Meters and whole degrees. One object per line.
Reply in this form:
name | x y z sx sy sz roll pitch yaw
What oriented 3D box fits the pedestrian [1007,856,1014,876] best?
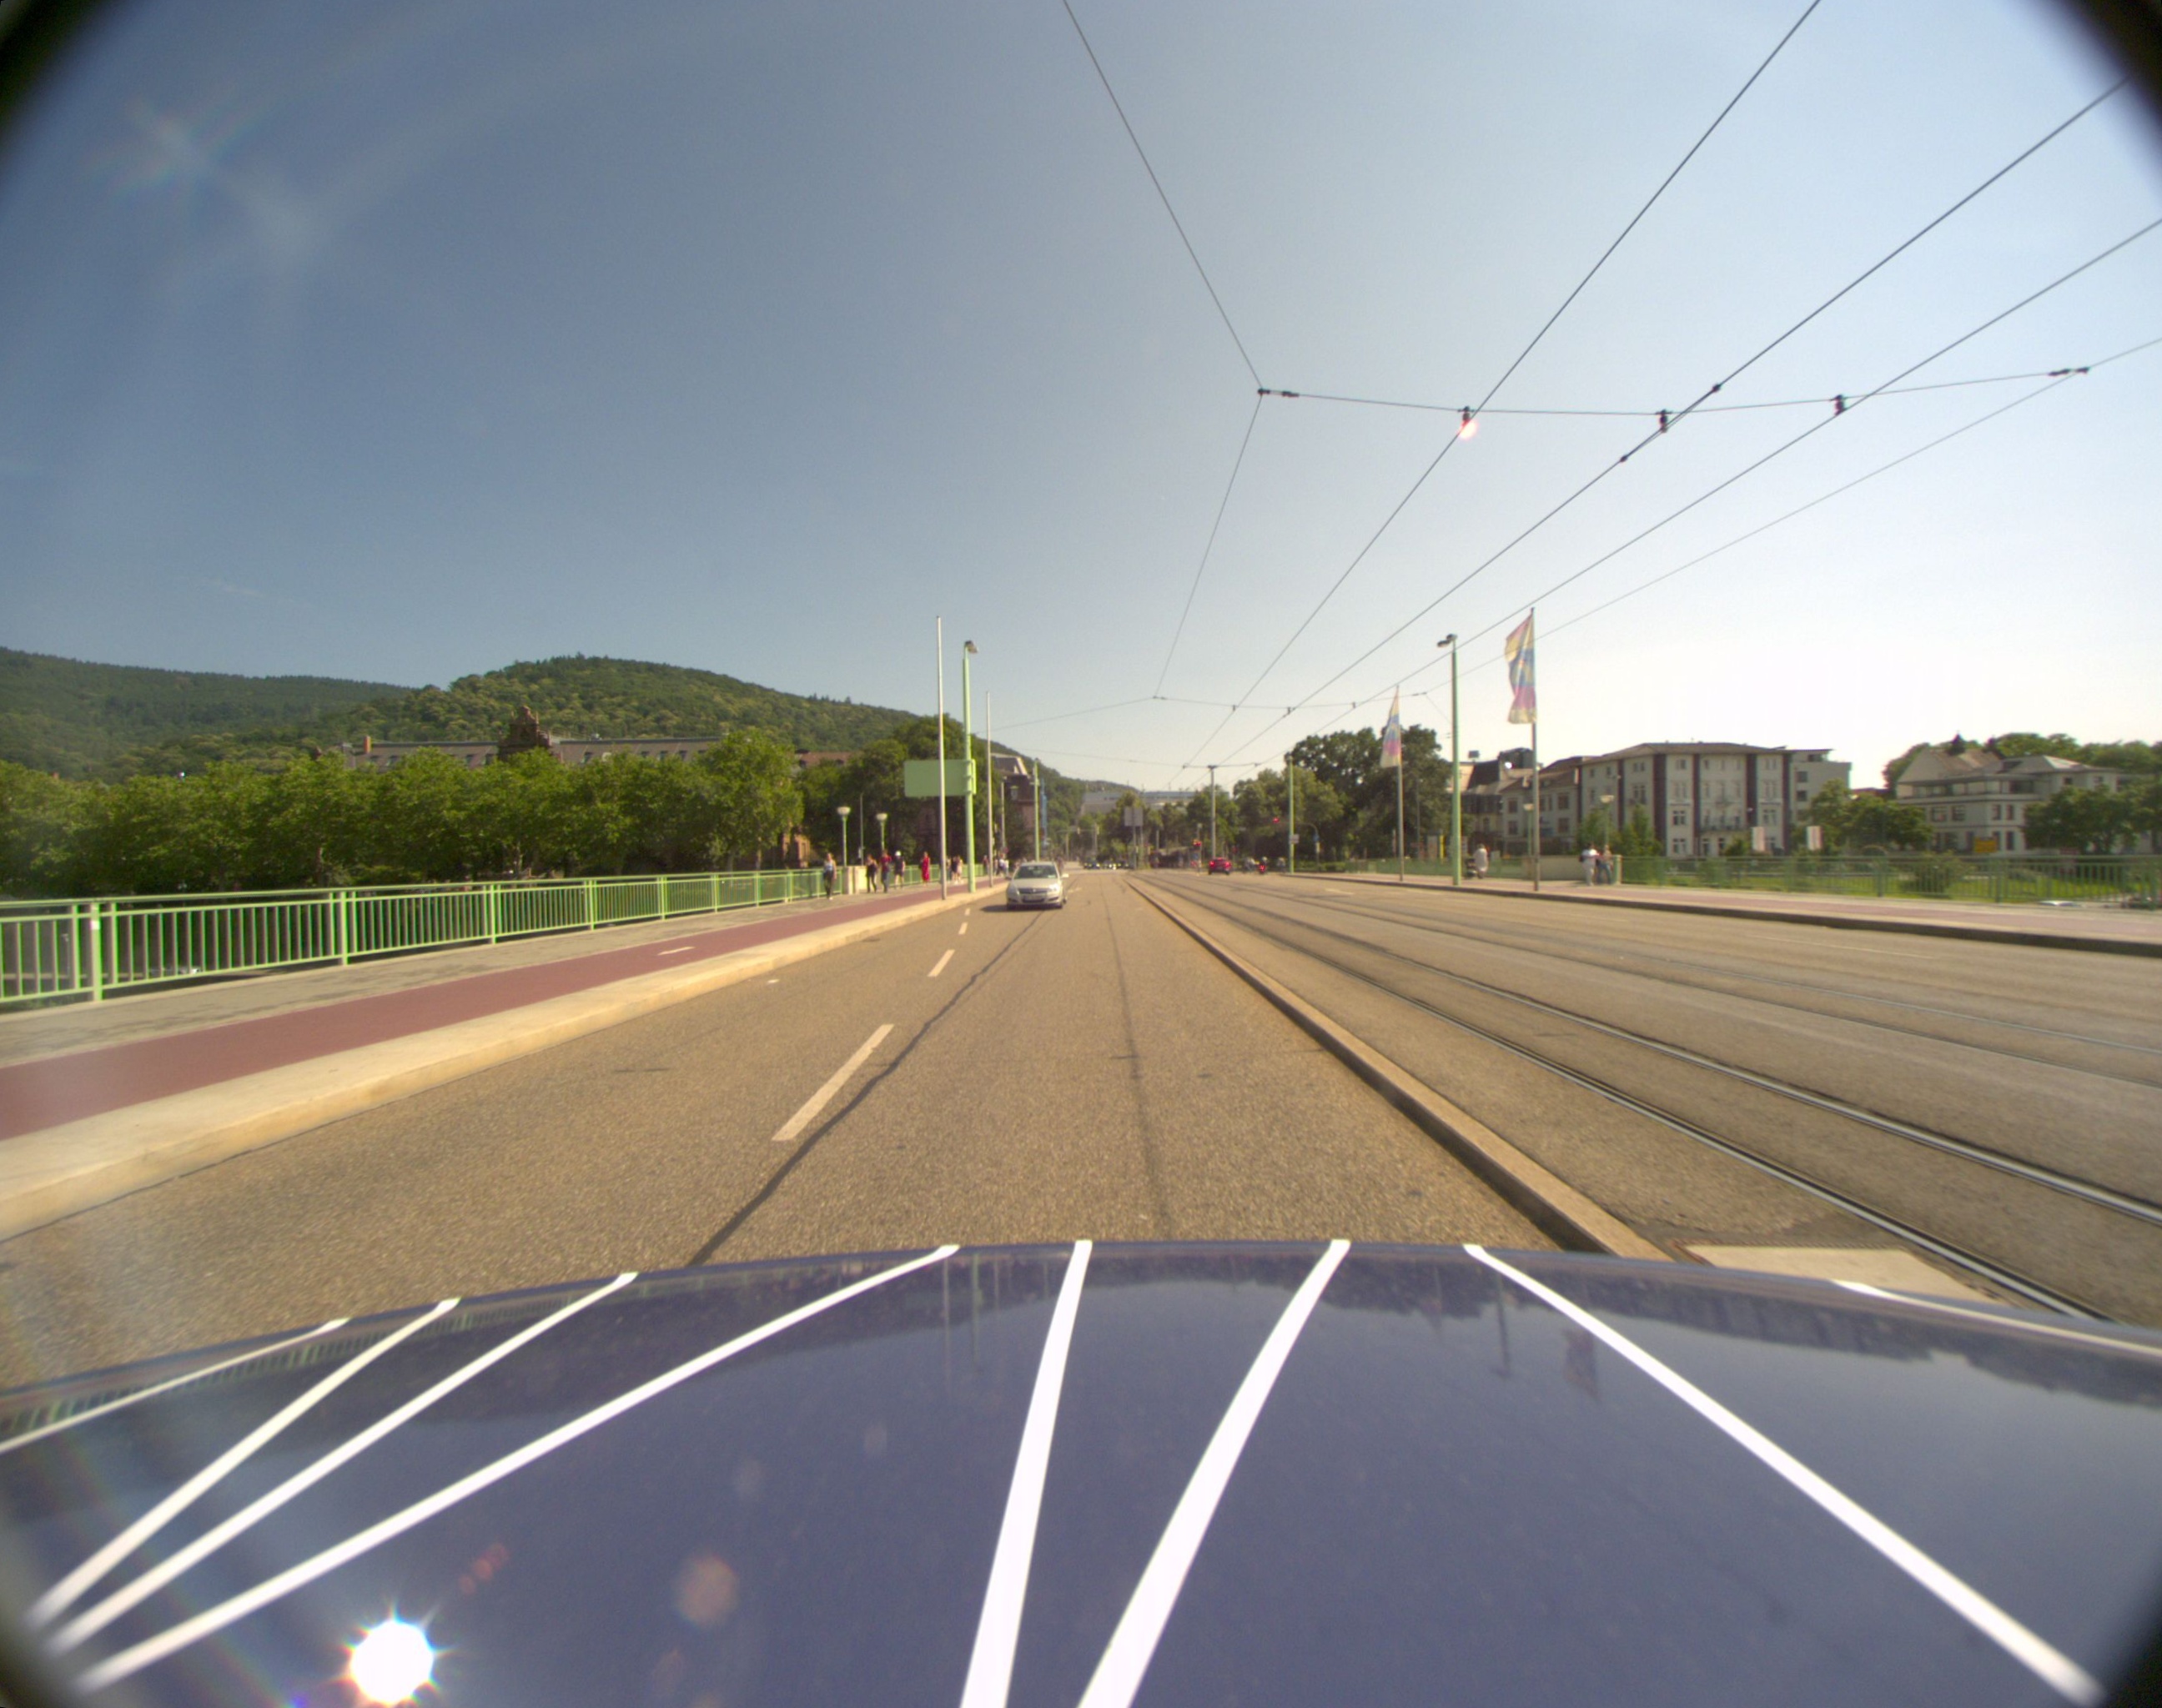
pedestrian | -6.330 1.083 67.981 0.550 1.788 0.645 -1 1 -4

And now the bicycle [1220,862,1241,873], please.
bicycle | 14.676 1.316 74.634 1.916 1.107 0.762 -1 1 14

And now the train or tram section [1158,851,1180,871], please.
train or tram section | 17.447 1.365 151.533 2.545 3.755 9.164 -1 0 -5

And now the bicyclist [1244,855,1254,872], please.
bicyclist | 16.193 0.916 73.275 0.770 1.600 0.881 -1 1 19

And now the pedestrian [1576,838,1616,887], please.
pedestrian | 19.313 0.310 28.499 0.740 1.774 0.957 -4 0 -1

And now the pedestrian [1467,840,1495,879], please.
pedestrian | 19.829 0.261 37.705 0.740 1.842 0.975 -4 0 -1

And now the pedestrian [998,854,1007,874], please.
pedestrian | -7.008 0.868 67.689 0.697 1.706 0.731 -1 1 -4

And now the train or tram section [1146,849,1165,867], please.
train or tram section | 14.394 0.853 146.617 2.767 3.383 5.885 0 0 -2

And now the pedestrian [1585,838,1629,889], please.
pedestrian | 19.845 0.361 28.697 0.740 1.838 1.121 -4 0 -1

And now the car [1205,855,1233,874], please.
car | 12.084 0.875 66.593 1.998 1.506 4.191 -1 1 5

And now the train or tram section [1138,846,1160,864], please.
train or tram section | 13.946 0.240 155.843 2.767 3.383 12.408 0 0 -3

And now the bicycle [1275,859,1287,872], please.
bicycle | 19.036 1.113 72.344 0.760 1.107 1.921 -3 -2 3

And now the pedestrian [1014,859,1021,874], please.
pedestrian | -8.319 1.650 99.470 0.777 2.002 1.059 0 0 -4

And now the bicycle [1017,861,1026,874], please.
bicycle | -5.202 1.193 66.517 0.643 1.076 2.496 0 0 -1

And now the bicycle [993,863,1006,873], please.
bicycle | -10.626 1.812 98.616 0.801 1.199 2.276 2 4 18

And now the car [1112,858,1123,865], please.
car | 6.646 1.305 138.517 1.638 1.301 3.913 0 0 -4

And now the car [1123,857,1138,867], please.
car | 7.359 1.211 113.407 1.753 1.477 4.746 1 0 -3

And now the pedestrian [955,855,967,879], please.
pedestrian | -7.806 0.859 49.434 0.651 1.553 0.692 0 0 2

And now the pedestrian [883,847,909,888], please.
pedestrian | -8.737 0.636 35.941 0.987 1.884 1.253 -1 1 -4

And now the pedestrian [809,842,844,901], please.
pedestrian | -8.926 0.602 26.705 0.876 2.002 1.058 -1 1 -4

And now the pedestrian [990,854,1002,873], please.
pedestrian | -7.320 0.836 65.539 0.987 1.606 0.921 -1 1 -5

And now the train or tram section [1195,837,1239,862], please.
train or tram section | 21.974 -0.679 123.561 2.479 3.755 11.836 -1 0 -13

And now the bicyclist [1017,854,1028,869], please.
bicyclist | -5.139 0.654 66.577 0.912 1.385 1.232 0 0 -2

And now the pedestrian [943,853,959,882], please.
pedestrian | -7.723 0.803 45.276 0.836 1.667 0.885 -1 1 -5

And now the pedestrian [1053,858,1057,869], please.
pedestrian | -4.394 1.629 127.086 0.636 1.880 0.903 -1 0 -5

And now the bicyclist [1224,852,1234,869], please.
bicyclist | 14.547 0.628 74.606 0.878 1.600 0.772 -1 1 13

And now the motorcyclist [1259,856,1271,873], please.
motorcyclist | 16.331 0.928 67.394 0.847 1.393 0.898 -2 0 -1

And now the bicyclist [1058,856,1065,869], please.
bicyclist | -2.980 1.300 114.514 0.944 2.002 0.830 0 0 -5

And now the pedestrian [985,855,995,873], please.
pedestrian | -8.343 0.944 69.641 0.801 1.625 0.949 -1 1 -4

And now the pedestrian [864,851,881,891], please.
pedestrian | -8.679 0.697 31.610 0.524 1.640 0.699 -1 1 -4

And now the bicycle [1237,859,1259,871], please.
bicycle | 16.111 1.086 73.306 1.916 1.107 0.762 -1 1 18

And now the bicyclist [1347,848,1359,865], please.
bicyclist | 26.174 0.201 73.185 0.879 1.600 0.772 -1 1 1

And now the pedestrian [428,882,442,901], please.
pedestrian | -62.523 3.635 73.505 0.742 1.764 0.677 -2 0 -4

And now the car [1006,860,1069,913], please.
car | -1.497 0.979 24.682 1.803 1.492 4.495 -2 0 -6

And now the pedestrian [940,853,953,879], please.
pedestrian | -8.739 0.791 49.298 0.651 1.622 0.692 -2 0 2

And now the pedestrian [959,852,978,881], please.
pedestrian | -6.748 0.744 45.561 0.987 1.740 0.929 -1 1 -5

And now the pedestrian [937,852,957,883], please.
pedestrian | -7.629 0.779 43.355 0.987 1.759 1.254 0 0 -4

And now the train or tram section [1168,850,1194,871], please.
train or tram section | 18.635 1.356 142.443 2.545 3.754 9.165 -1 -1 -7

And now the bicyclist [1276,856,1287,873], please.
bicyclist | 19.050 1.009 72.324 0.879 1.599 0.772 0 -1 3

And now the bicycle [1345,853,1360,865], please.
bicycle | 26.170 0.475 73.304 0.760 1.107 1.920 -1 1 1

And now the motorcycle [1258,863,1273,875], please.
motorcycle | 16.299 1.311 67.274 0.847 1.019 1.951 -2 0 0

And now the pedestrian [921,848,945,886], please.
pedestrian | -7.647 0.656 39.344 1.018 1.942 0.939 -1 1 -1

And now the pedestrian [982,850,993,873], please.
pedestrian | -8.060 0.636 65.586 0.805 2.002 0.954 -1 1 -4

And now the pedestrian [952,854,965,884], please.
pedestrian | -6.917 0.825 42.940 0.656 1.640 0.868 -1 1 -4

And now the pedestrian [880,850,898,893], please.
pedestrian | -7.971 0.717 31.604 0.587 1.783 0.632 -1 1 -4

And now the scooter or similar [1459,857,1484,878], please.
scooter or similar | 19.851 0.672 38.623 0.740 1.023 0.832 -4 0 -1
